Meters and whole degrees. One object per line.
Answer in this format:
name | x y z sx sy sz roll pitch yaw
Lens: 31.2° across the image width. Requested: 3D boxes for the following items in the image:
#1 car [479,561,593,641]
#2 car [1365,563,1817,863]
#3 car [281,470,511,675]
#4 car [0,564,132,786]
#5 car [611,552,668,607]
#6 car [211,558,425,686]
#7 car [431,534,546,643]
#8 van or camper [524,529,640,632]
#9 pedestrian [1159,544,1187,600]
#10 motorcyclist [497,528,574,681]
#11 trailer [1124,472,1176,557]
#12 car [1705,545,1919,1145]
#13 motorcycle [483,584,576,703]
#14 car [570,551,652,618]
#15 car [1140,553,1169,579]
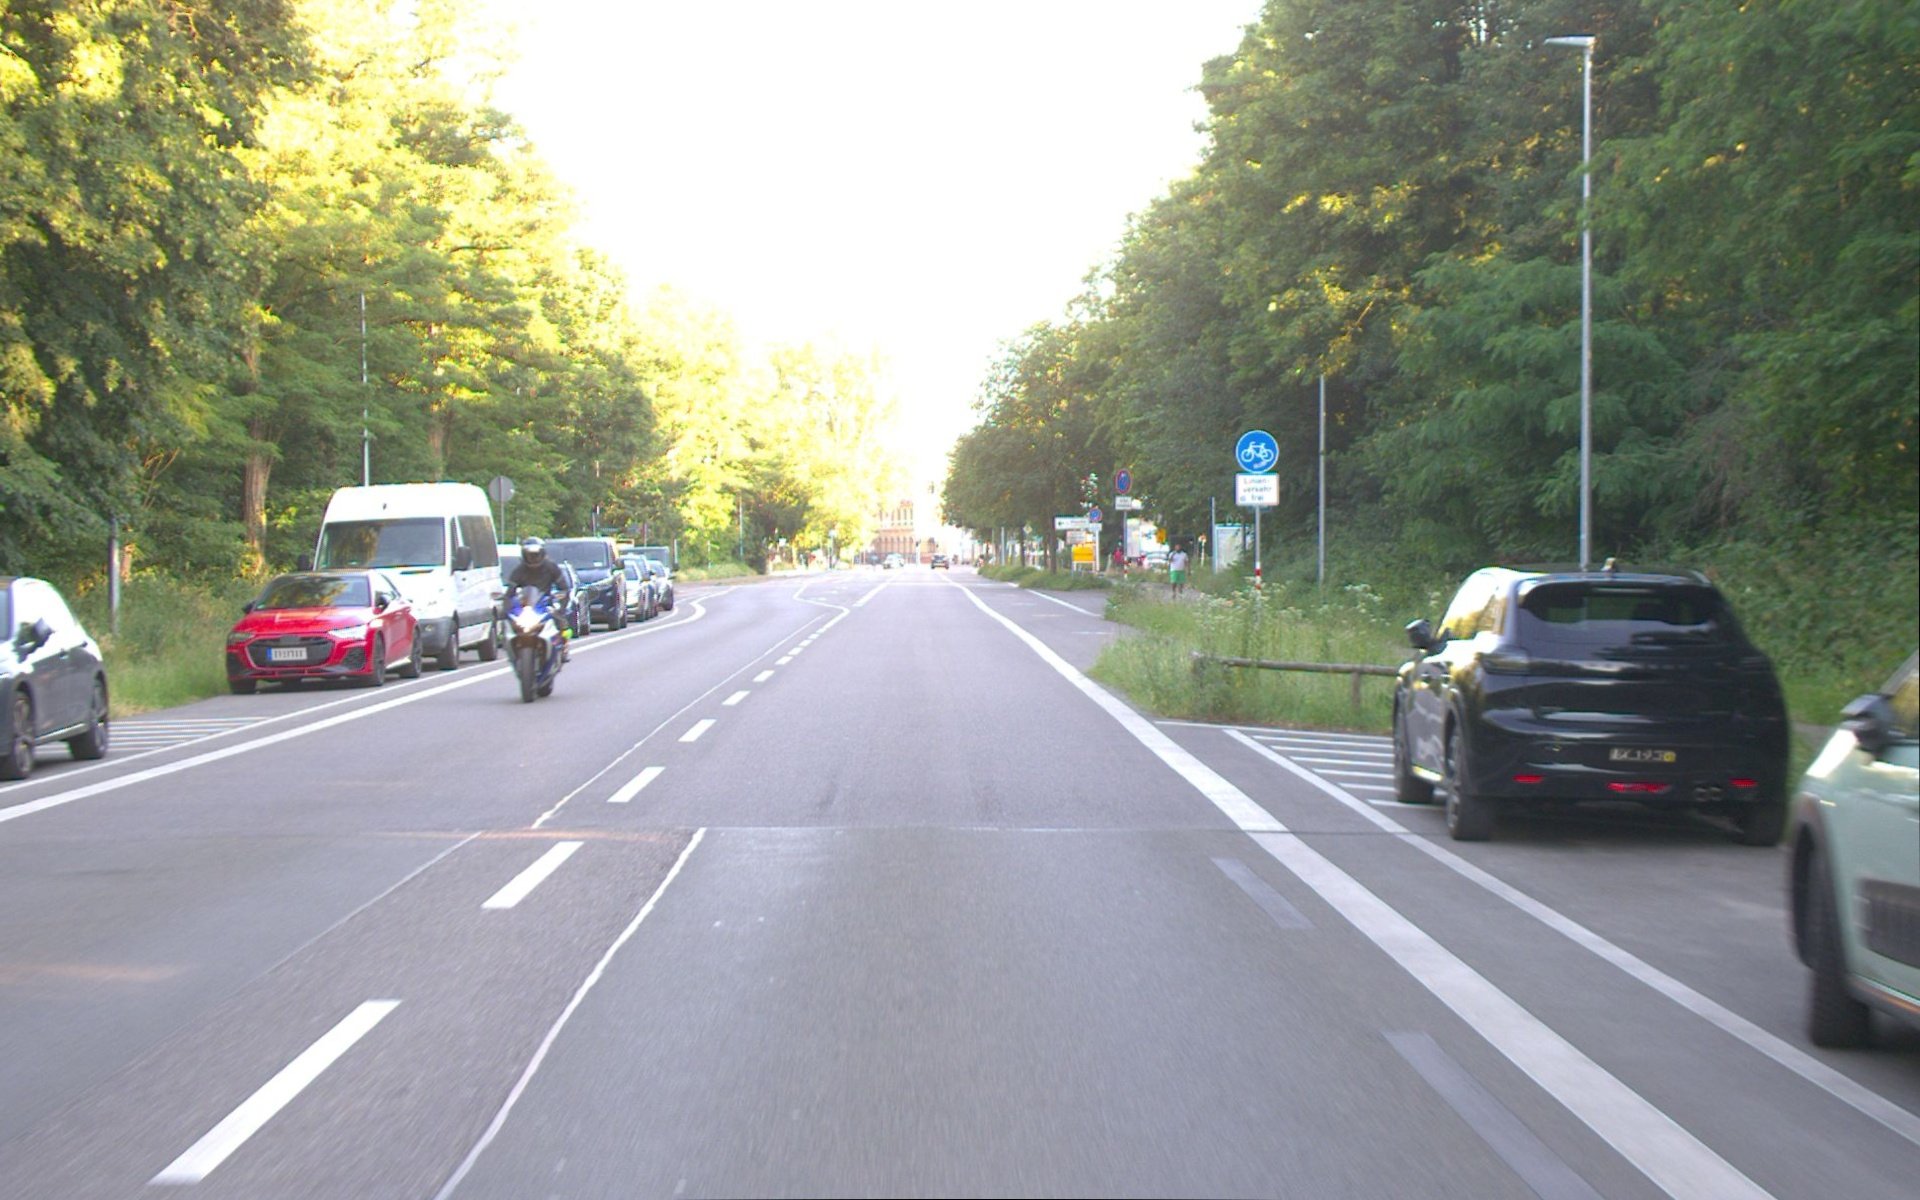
car | -8.201 -0.015 66.820 1.669 1.428 4.447 -2 1 -1
car | 3.384 0.541 19.162 1.710 1.439 4.122 0 1 -1
car | -7.920 -0.414 48.997 2.079 2.597 7.089 -3 1 -1
car | -7.452 0.522 25.298 1.845 1.457 4.230 -3 1 -3
car | -9.487 -0.613 101.646 1.616 1.529 4.041 -2 1 -6
car | -7.767 0.233 41.965 1.716 1.425 4.388 -1 1 1
car | -8.389 -0.235 61.461 1.687 1.852 4.388 0 1 -3
van or camper | -7.986 -0.430 73.090 2.002 2.011 5.462 -3 1 -2
pedestrian | 6.712 -0.878 108.116 0.838 1.745 0.726 0 0 1
motorcyclist | -4.292 0.035 34.817 0.604 1.524 0.995 -1 1 2
trailer | 12.500 -5.580 226.426 3.020 5.443 7.934 0 1 0
car | 3.319 0.624 9.292 1.688 1.540 4.112 -1 1 0
motorcycle | -4.307 0.423 34.511 0.611 1.123 1.961 -1 1 2
car | -8.355 -0.390 82.642 1.668 1.496 4.247 -2 1 -2
car | 12.097 -2.128 213.669 1.770 1.578 4.818 1 0 3
